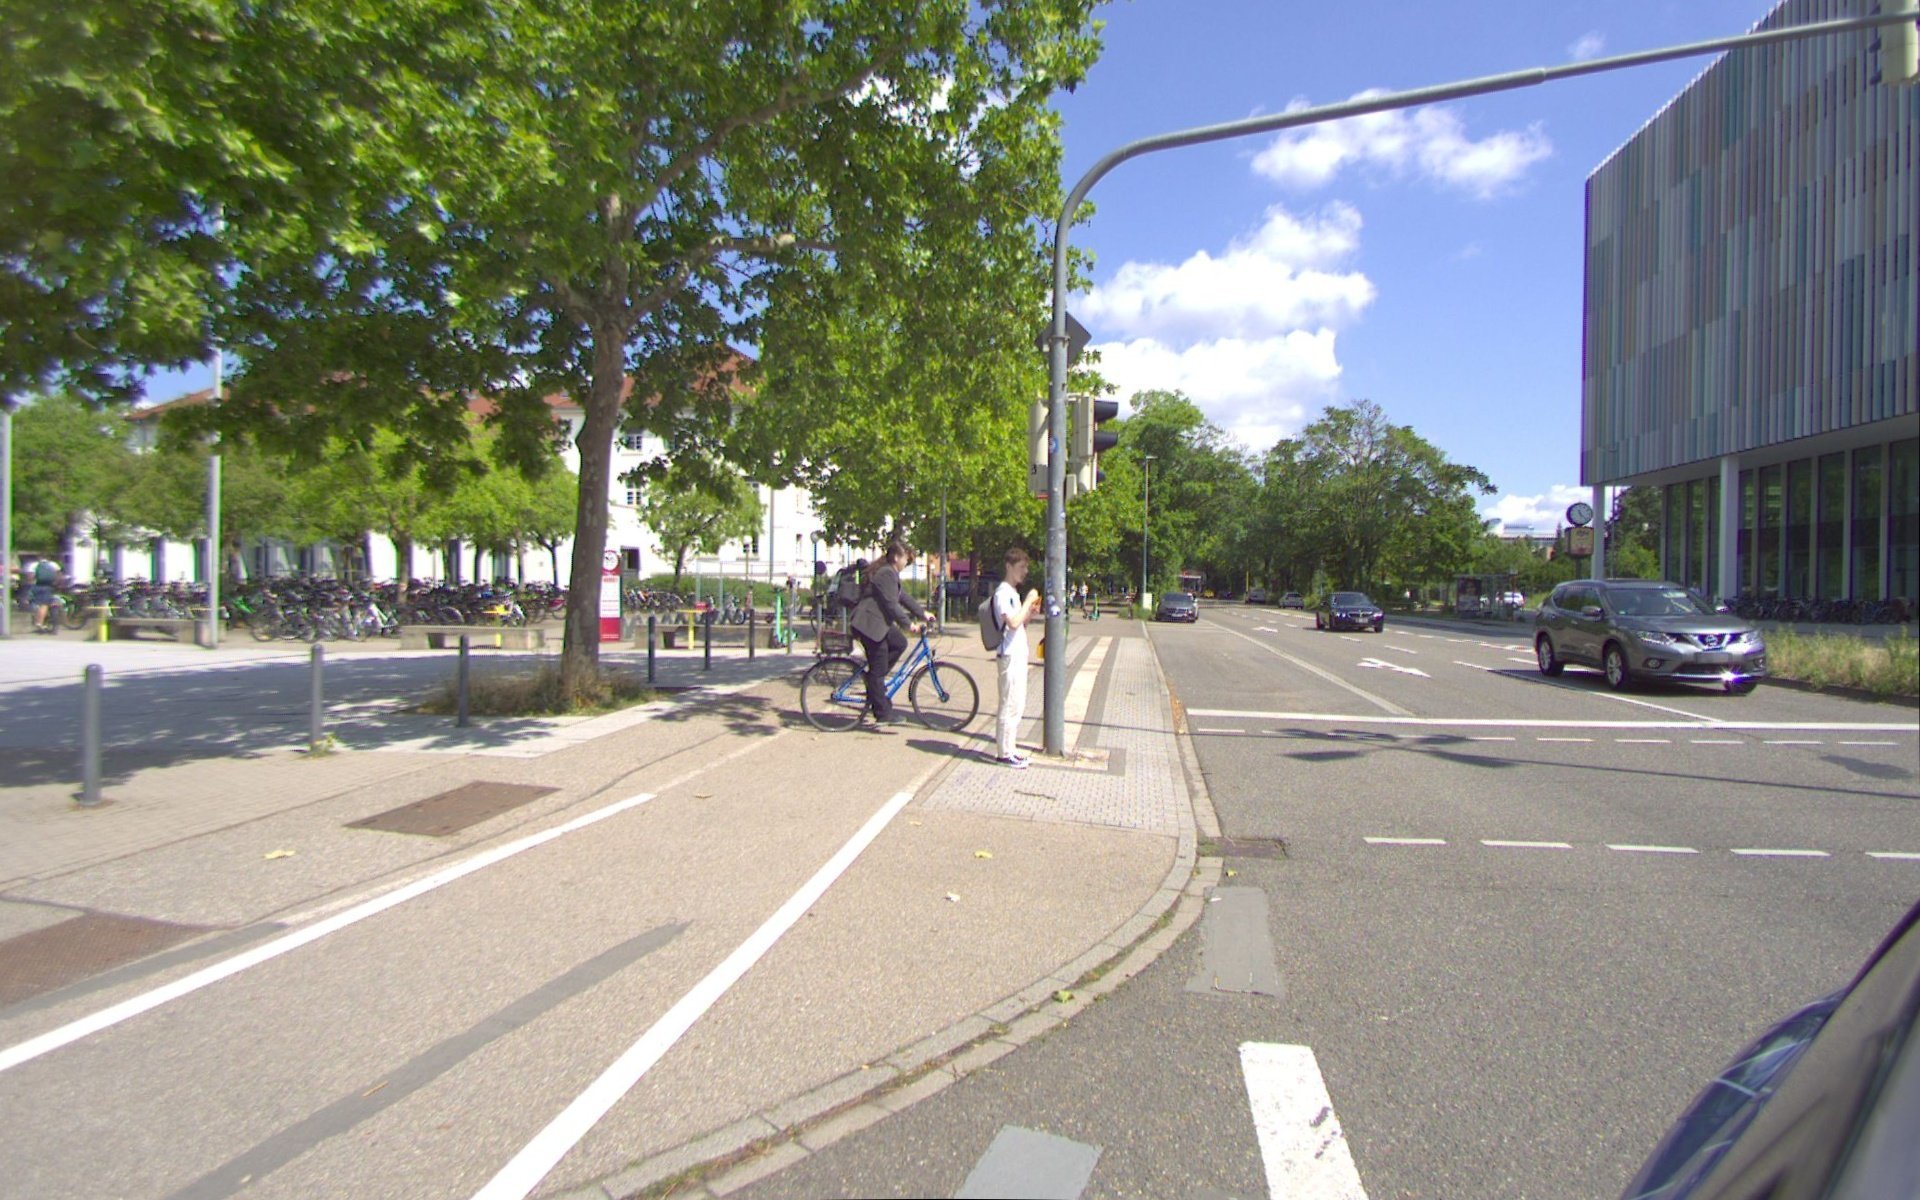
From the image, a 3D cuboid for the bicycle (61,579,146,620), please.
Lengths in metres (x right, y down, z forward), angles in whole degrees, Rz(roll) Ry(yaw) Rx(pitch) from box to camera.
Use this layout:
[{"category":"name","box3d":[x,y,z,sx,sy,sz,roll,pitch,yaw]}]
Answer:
[{"category":"bicycle","box3d":[-24.444,-0.018,28.922,1.731,1.112,0.605,-1,0,-21]}]

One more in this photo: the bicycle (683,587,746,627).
[{"category":"bicycle","box3d":[-7.254,0.188,29.869,1.731,1.112,0.605,-1,0,-20]}]

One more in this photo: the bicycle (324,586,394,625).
[{"category":"bicycle","box3d":[-18.191,0.148,30.654,1.731,1.112,0.605,-1,0,-21]}]

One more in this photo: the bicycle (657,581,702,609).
[{"category":"bicycle","box3d":[-11.578,-0.226,41.774,1.731,1.112,0.605,-1,0,-21]}]

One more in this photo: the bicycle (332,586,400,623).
[{"category":"bicycle","box3d":[-18.716,0.140,31.913,1.731,1.112,0.605,-1,0,-21]}]

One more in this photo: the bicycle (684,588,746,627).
[{"category":"bicycle","box3d":[-7.403,0.228,30.559,1.731,1.112,0.605,-1,0,-20]}]

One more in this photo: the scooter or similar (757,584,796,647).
[{"category":"scooter or similar","box3d":[-3.584,0.287,19.837,0.348,1.180,1.189,-1,1,10]}]

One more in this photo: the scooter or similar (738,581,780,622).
[{"category":"scooter or similar","box3d":[-6.264,0.037,31.579,1.273,1.248,0.281,0,2,-4]}]

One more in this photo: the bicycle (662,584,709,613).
[{"category":"bicycle","box3d":[-11.006,-0.049,40.598,1.731,1.112,0.605,-1,0,-21]}]

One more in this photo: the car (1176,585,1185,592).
[{"category":"car","box3d":[53.671,-2.787,246.680,1.873,1.530,3.810,-1,1,15]}]

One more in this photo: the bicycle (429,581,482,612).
[{"category":"bicycle","box3d":[-18.948,-0.121,38.029,1.731,1.112,0.605,-1,0,-21]}]

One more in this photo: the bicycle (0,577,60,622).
[{"category":"bicycle","box3d":[-24.160,-0.001,25.767,1.731,1.112,0.605,-1,0,-21]}]

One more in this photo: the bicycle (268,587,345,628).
[{"category":"bicycle","box3d":[-18.692,0.214,28.980,1.731,1.112,0.605,-1,0,-21]}]

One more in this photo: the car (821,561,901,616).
[{"category":"car","box3d":[-3.542,-0.436,37.130,1.871,1.888,4.932,0,1,7]}]

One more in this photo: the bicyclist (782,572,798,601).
[{"category":"bicyclist","box3d":[-8.116,-0.651,48.418,0.597,1.337,0.742,2,1,2]}]

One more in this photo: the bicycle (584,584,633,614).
[{"category":"bicycle","box3d":[-13.366,-0.046,38.442,1.731,1.112,0.605,-1,0,-20]}]

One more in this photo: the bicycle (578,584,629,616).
[{"category":"bicycle","box3d":[-12.994,-0.015,36.894,1.731,1.112,0.605,-1,0,-20]}]

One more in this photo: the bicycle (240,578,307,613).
[{"category":"bicycle","box3d":[-23.147,-0.163,34.148,1.731,1.112,0.605,-1,0,-21]}]

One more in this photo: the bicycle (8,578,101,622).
[{"category":"bicycle","box3d":[-23.988,-0.012,26.843,1.731,1.112,0.605,-1,0,-21]}]

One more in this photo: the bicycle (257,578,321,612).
[{"category":"bicycle","box3d":[-23.225,-0.176,35.045,1.731,1.112,0.605,-1,0,-21]}]

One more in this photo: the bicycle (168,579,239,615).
[{"category":"bicycle","box3d":[-24.494,-0.094,32.804,1.731,1.112,0.605,-1,0,-21]}]

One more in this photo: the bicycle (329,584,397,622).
[{"category":"bicycle","box3d":[-18.451,0.095,31.313,1.731,1.112,0.605,-1,0,-21]}]

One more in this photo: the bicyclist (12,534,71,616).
[{"category":"bicyclist","box3d":[-21.281,-0.573,23.453,0.649,1.868,0.762,-1,0,-5]}]

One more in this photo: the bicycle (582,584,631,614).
[{"category":"bicycle","box3d":[-13.657,-0.035,39.090,1.731,1.112,0.605,-1,0,-20]}]

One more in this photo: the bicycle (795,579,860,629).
[{"category":"bicycle","box3d":[-3.328,0.084,25.641,0.790,1.198,2.017,0,1,21]}]

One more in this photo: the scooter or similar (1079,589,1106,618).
[{"category":"scooter or similar","box3d":[6.000,0.156,45.703,0.528,1.262,1.268,2,0,44]}]

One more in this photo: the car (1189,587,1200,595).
[{"category":"car","box3d":[44.266,-1.706,190.697,1.873,1.530,3.810,-1,1,15]}]

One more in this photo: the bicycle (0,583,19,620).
[{"category":"bicycle","box3d":[-29.597,0.055,30.461,1.731,1.112,0.605,-1,0,-21]}]

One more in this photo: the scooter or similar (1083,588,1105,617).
[{"category":"scooter or similar","box3d":[5.757,0.117,43.390,0.524,1.184,1.562,2,0,23]}]

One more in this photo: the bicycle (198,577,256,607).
[{"category":"bicycle","box3d":[-28.686,-0.313,39.635,1.731,1.112,0.605,-1,0,-21]}]

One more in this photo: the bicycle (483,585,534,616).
[{"category":"bicycle","box3d":[-17.214,0.002,38.634,1.731,1.112,0.605,-1,0,-21]}]

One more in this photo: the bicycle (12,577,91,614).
[{"category":"bicycle","box3d":[-28.663,-0.155,31.966,1.731,1.112,0.605,-1,0,-21]}]

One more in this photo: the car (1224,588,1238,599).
[{"category":"car","box3d":[40.620,-1.017,151.681,1.873,1.530,3.810,-1,1,15]}]

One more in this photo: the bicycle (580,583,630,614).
[{"category":"bicycle","box3d":[-13.238,-0.068,37.718,1.731,1.112,0.605,-1,0,-20]}]

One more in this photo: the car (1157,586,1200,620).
[{"category":"car","box3d":[10.573,0.143,49.215,1.833,1.497,4.926,2,0,10]}]

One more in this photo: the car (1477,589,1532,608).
[{"category":"car","box3d":[47.000,-0.155,87.448,3.774,1.530,1.891,-1,1,16]}]

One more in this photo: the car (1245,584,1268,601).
[{"category":"car","box3d":[33.958,-0.865,115.961,1.872,1.834,4.721,0,0,8]}]

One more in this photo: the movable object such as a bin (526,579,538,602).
[{"category":"movable object such as a bin","box3d":[-20.551,-0.464,48.606,0.382,1.068,0.367,2,1,6]}]

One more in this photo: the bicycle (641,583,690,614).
[{"category":"bicycle","box3d":[-11.135,-0.077,38.249,1.731,1.112,0.605,-1,0,-20]}]

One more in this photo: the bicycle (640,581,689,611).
[{"category":"bicycle","box3d":[-11.459,-0.143,39.250,1.731,1.112,0.605,-1,0,-20]}]

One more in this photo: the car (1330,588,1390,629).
[{"category":"car","box3d":[14.864,0.262,37.781,1.806,1.433,4.166,0,1,18]}]

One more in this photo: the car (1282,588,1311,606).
[{"category":"car","box3d":[29.177,-0.273,87.786,1.970,1.438,3.984,0,1,13]}]

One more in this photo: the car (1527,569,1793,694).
[{"category":"car","box3d":[10.884,0.404,16.185,1.796,1.700,4.464,-1,1,11]}]

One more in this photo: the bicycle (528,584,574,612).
[{"category":"bicycle","box3d":[-16.849,-0.076,41.746,1.731,1.112,0.605,-1,0,-21]}]

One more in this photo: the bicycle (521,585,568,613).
[{"category":"bicycle","box3d":[-16.831,-0.043,41.025,1.731,1.112,0.605,-1,0,-21]}]

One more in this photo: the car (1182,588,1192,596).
[{"category":"car","box3d":[47.151,-1.657,210.108,1.873,1.530,3.810,-1,1,15]}]
